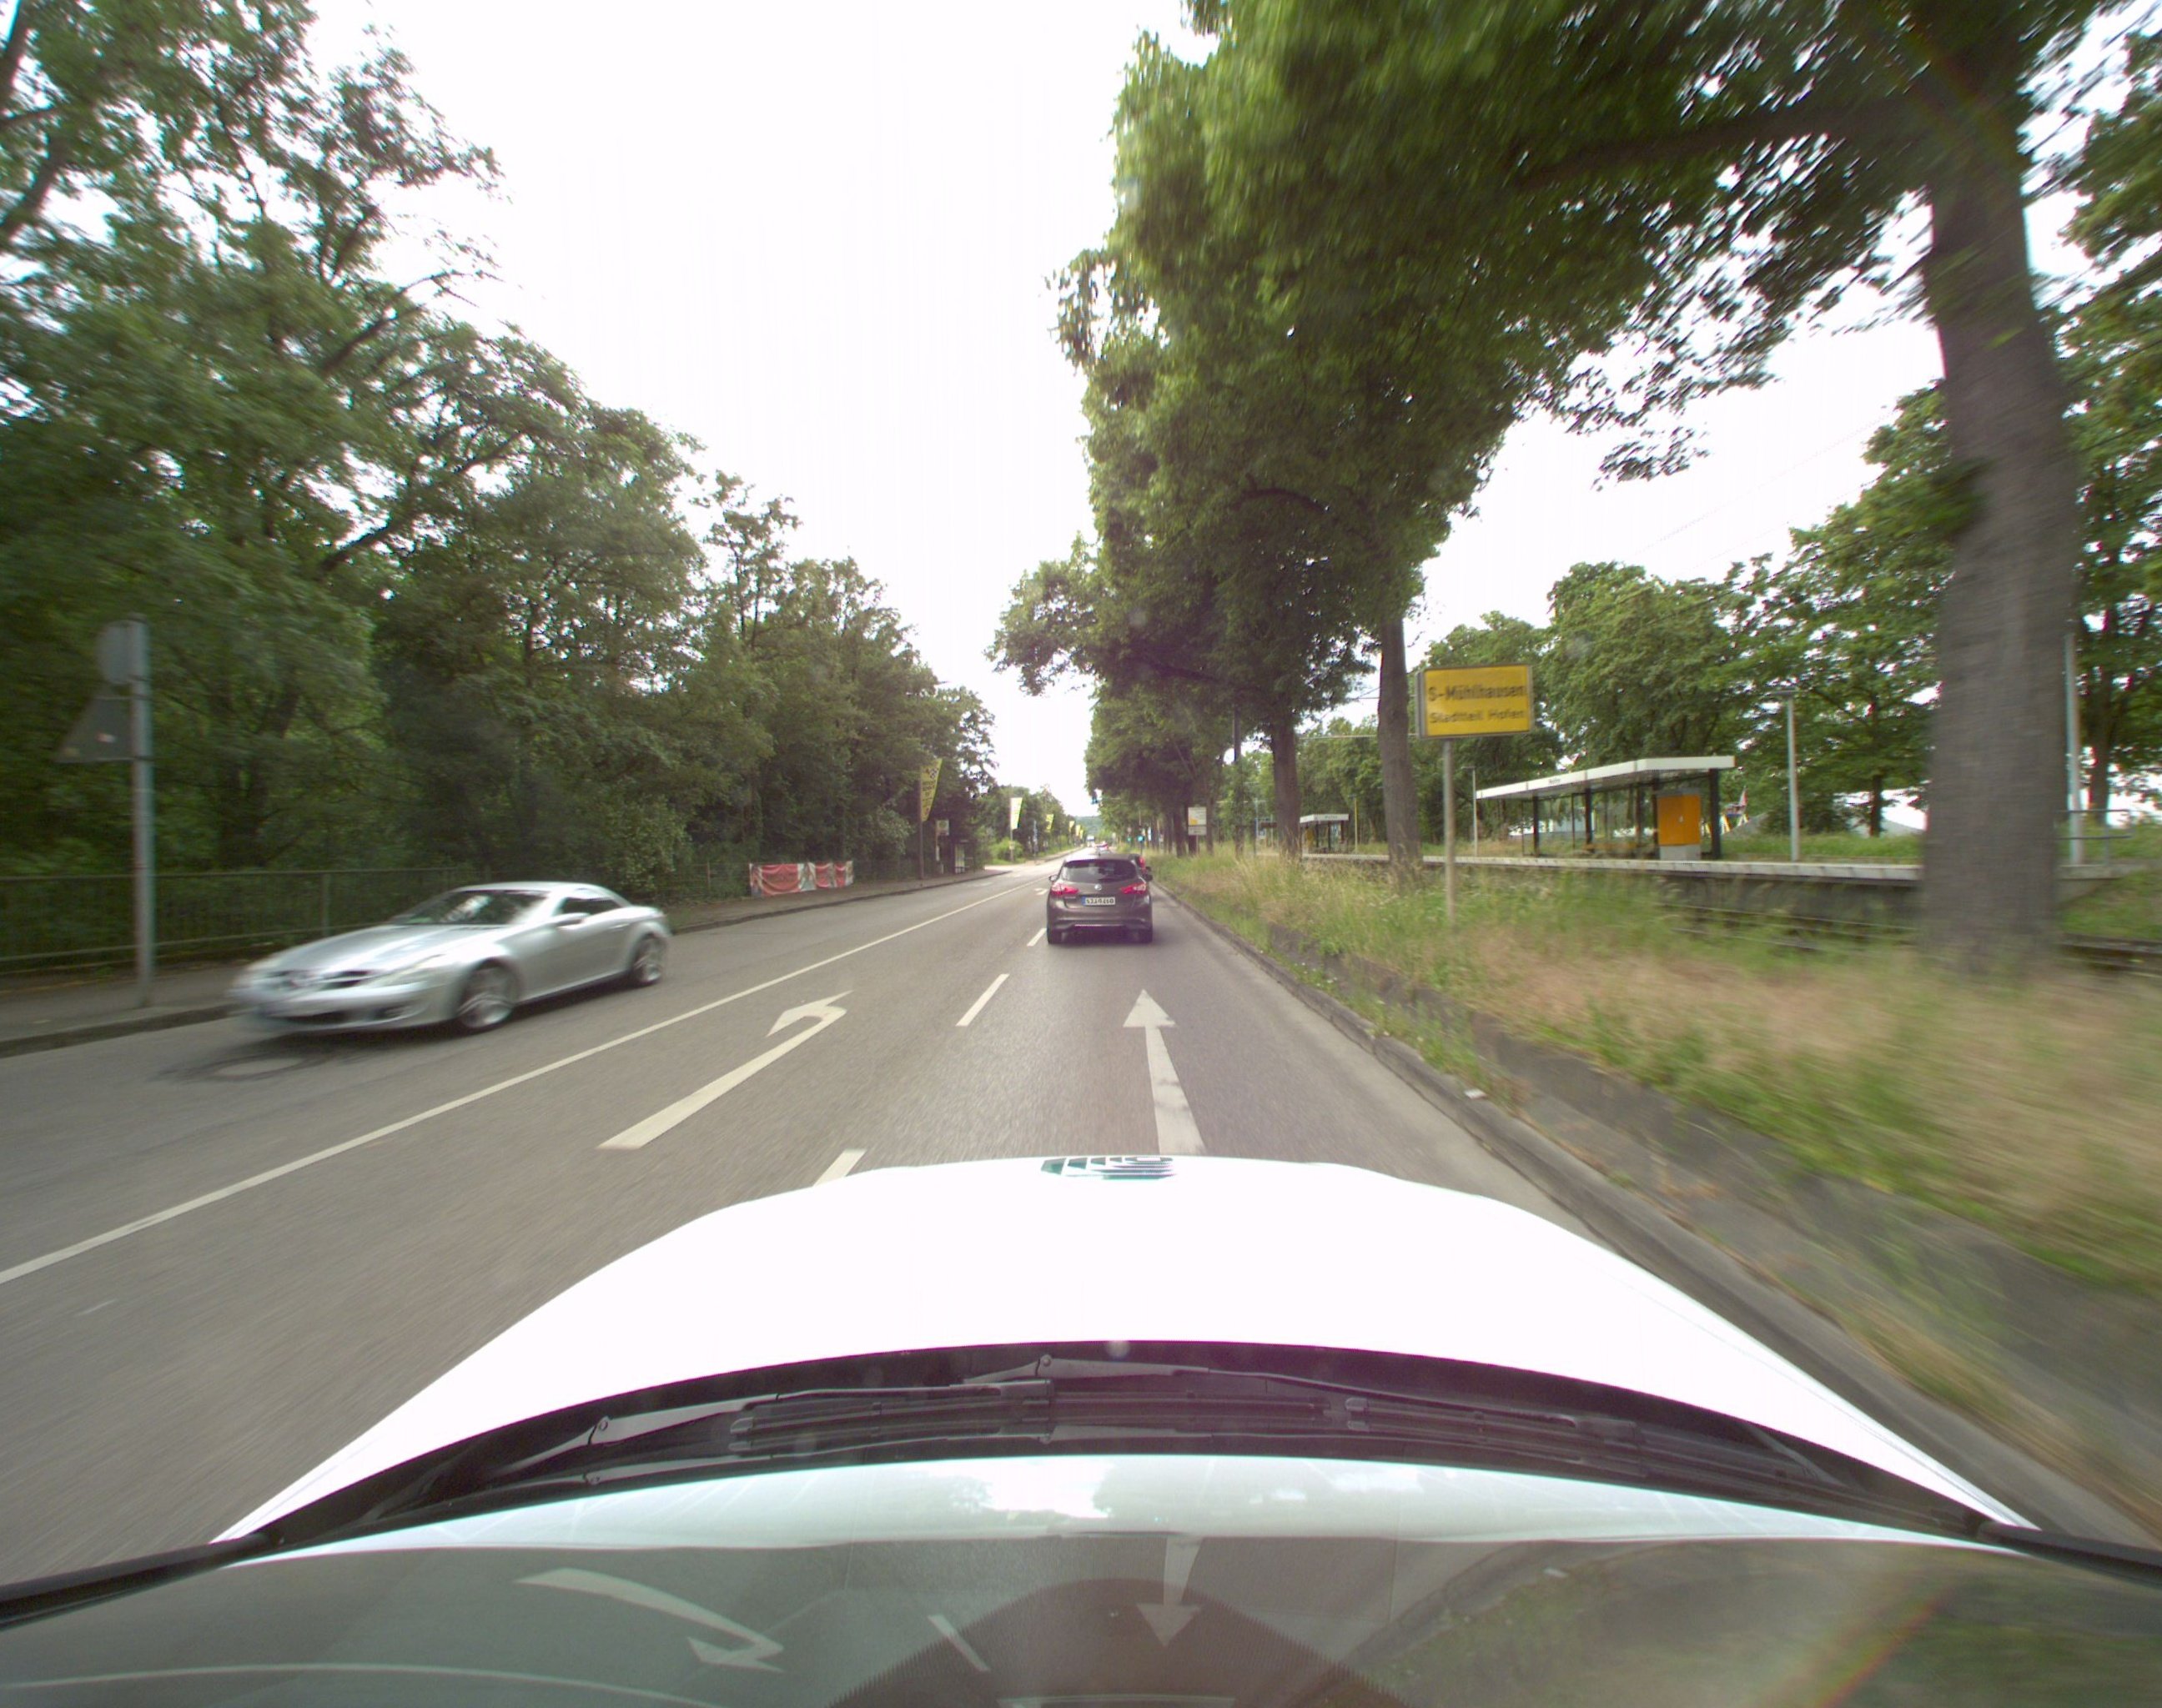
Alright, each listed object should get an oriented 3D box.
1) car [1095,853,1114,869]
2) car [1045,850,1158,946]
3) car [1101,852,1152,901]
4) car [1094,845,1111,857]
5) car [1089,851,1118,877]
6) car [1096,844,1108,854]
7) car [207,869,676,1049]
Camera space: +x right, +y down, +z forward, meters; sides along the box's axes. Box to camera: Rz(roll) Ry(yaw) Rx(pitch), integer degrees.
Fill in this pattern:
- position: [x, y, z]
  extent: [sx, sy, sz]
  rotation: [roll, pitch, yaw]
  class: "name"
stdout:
- position: [2.179, 0.616, 74.918]
  extent: [1.685, 1.441, 3.543]
  rotation: [-1, 0, 2]
  class: "car"
- position: [0.402, 0.700, 14.814]
  extent: [1.776, 1.507, 3.698]
  rotation: [-1, 0, 2]
  class: "car"
- position: [1.408, 0.681, 26.145]
  extent: [1.496, 1.441, 3.543]
  rotation: [-1, 0, 2]
  class: "car"
- position: [2.634, -0.366, 98.357]
  extent: [1.986, 1.321, 4.002]
  rotation: [1, 0, 2]
  class: "car"
- position: [1.353, 0.562, 48.628]
  extent: [1.685, 1.441, 3.543]
  rotation: [-1, 0, 2]
  class: "car"
- position: [3.353, -0.766, 129.992]
  extent: [1.986, 1.574, 4.001]
  rotation: [1, 0, 2]
  class: "car"
- position: [-5.998, 0.869, 8.306]
  extent: [1.751, 1.337, 3.698]
  rotation: [-1, 0, 2]
  class: "car"
